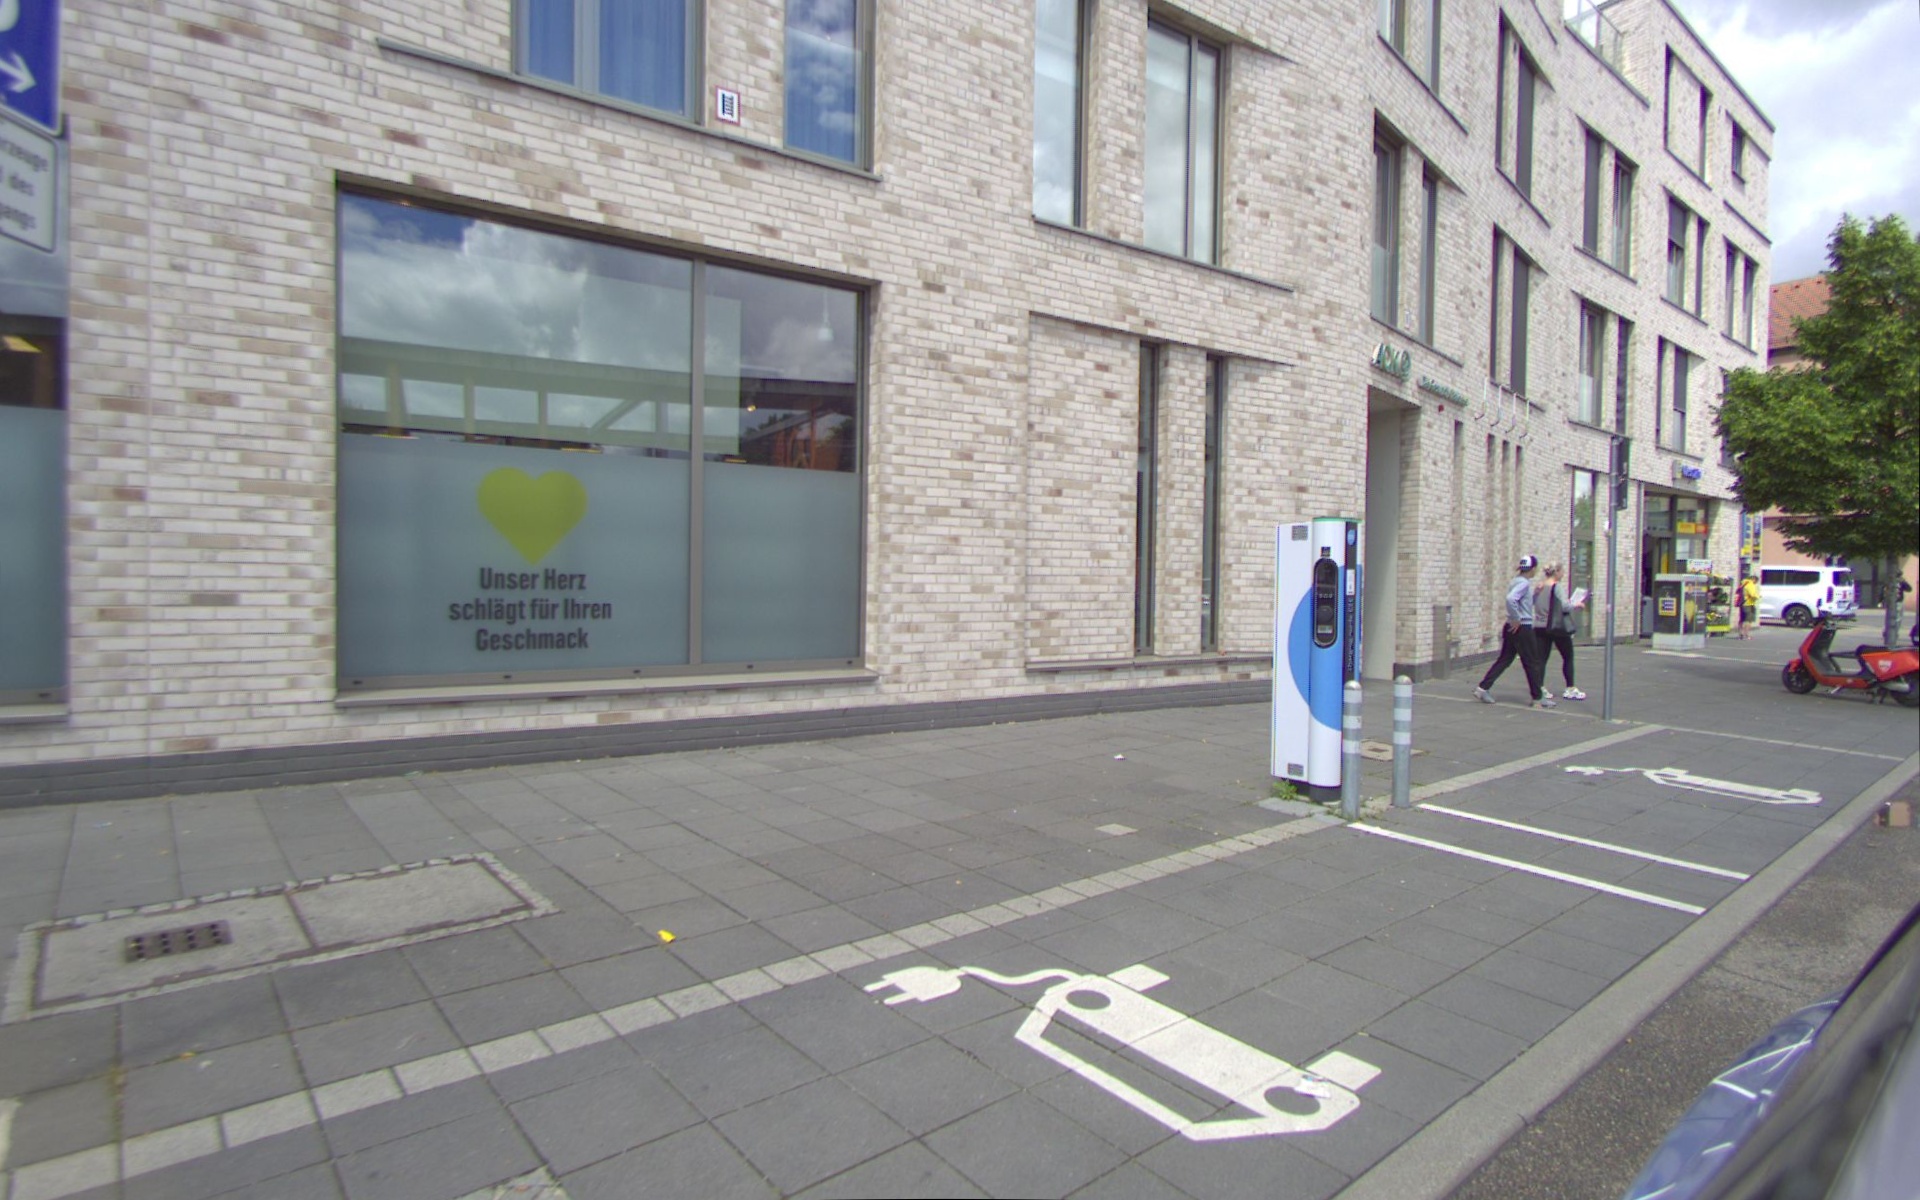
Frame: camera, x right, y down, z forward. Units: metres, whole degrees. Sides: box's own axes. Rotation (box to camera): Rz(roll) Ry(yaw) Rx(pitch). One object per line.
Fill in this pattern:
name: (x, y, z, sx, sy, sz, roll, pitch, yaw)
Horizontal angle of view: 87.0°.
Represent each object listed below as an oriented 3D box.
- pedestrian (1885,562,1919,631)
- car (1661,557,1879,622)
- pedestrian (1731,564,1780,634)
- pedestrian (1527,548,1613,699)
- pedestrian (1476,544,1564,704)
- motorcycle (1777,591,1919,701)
pedestrian: (24.568, -0.105, 26.194, 0.998, 1.763, 0.660, -1, 2, -35)
car: (27.140, -0.335, 34.134, 1.962, 2.039, 5.395, -1, 0, -34)
pedestrian: (19.753, -0.037, 25.142, 0.620, 1.713, 0.660, 1, 2, 1)
pedestrian: (7.482, 0.256, 12.451, 0.726, 1.788, 0.753, 1, 3, 20)
pedestrian: (6.441, 0.248, 11.669, 0.728, 1.788, 0.620, 1, 2, 18)
motorcycle: (12.029, 0.579, 13.164, 0.658, 1.281, 2.062, 0, 4, -22)
